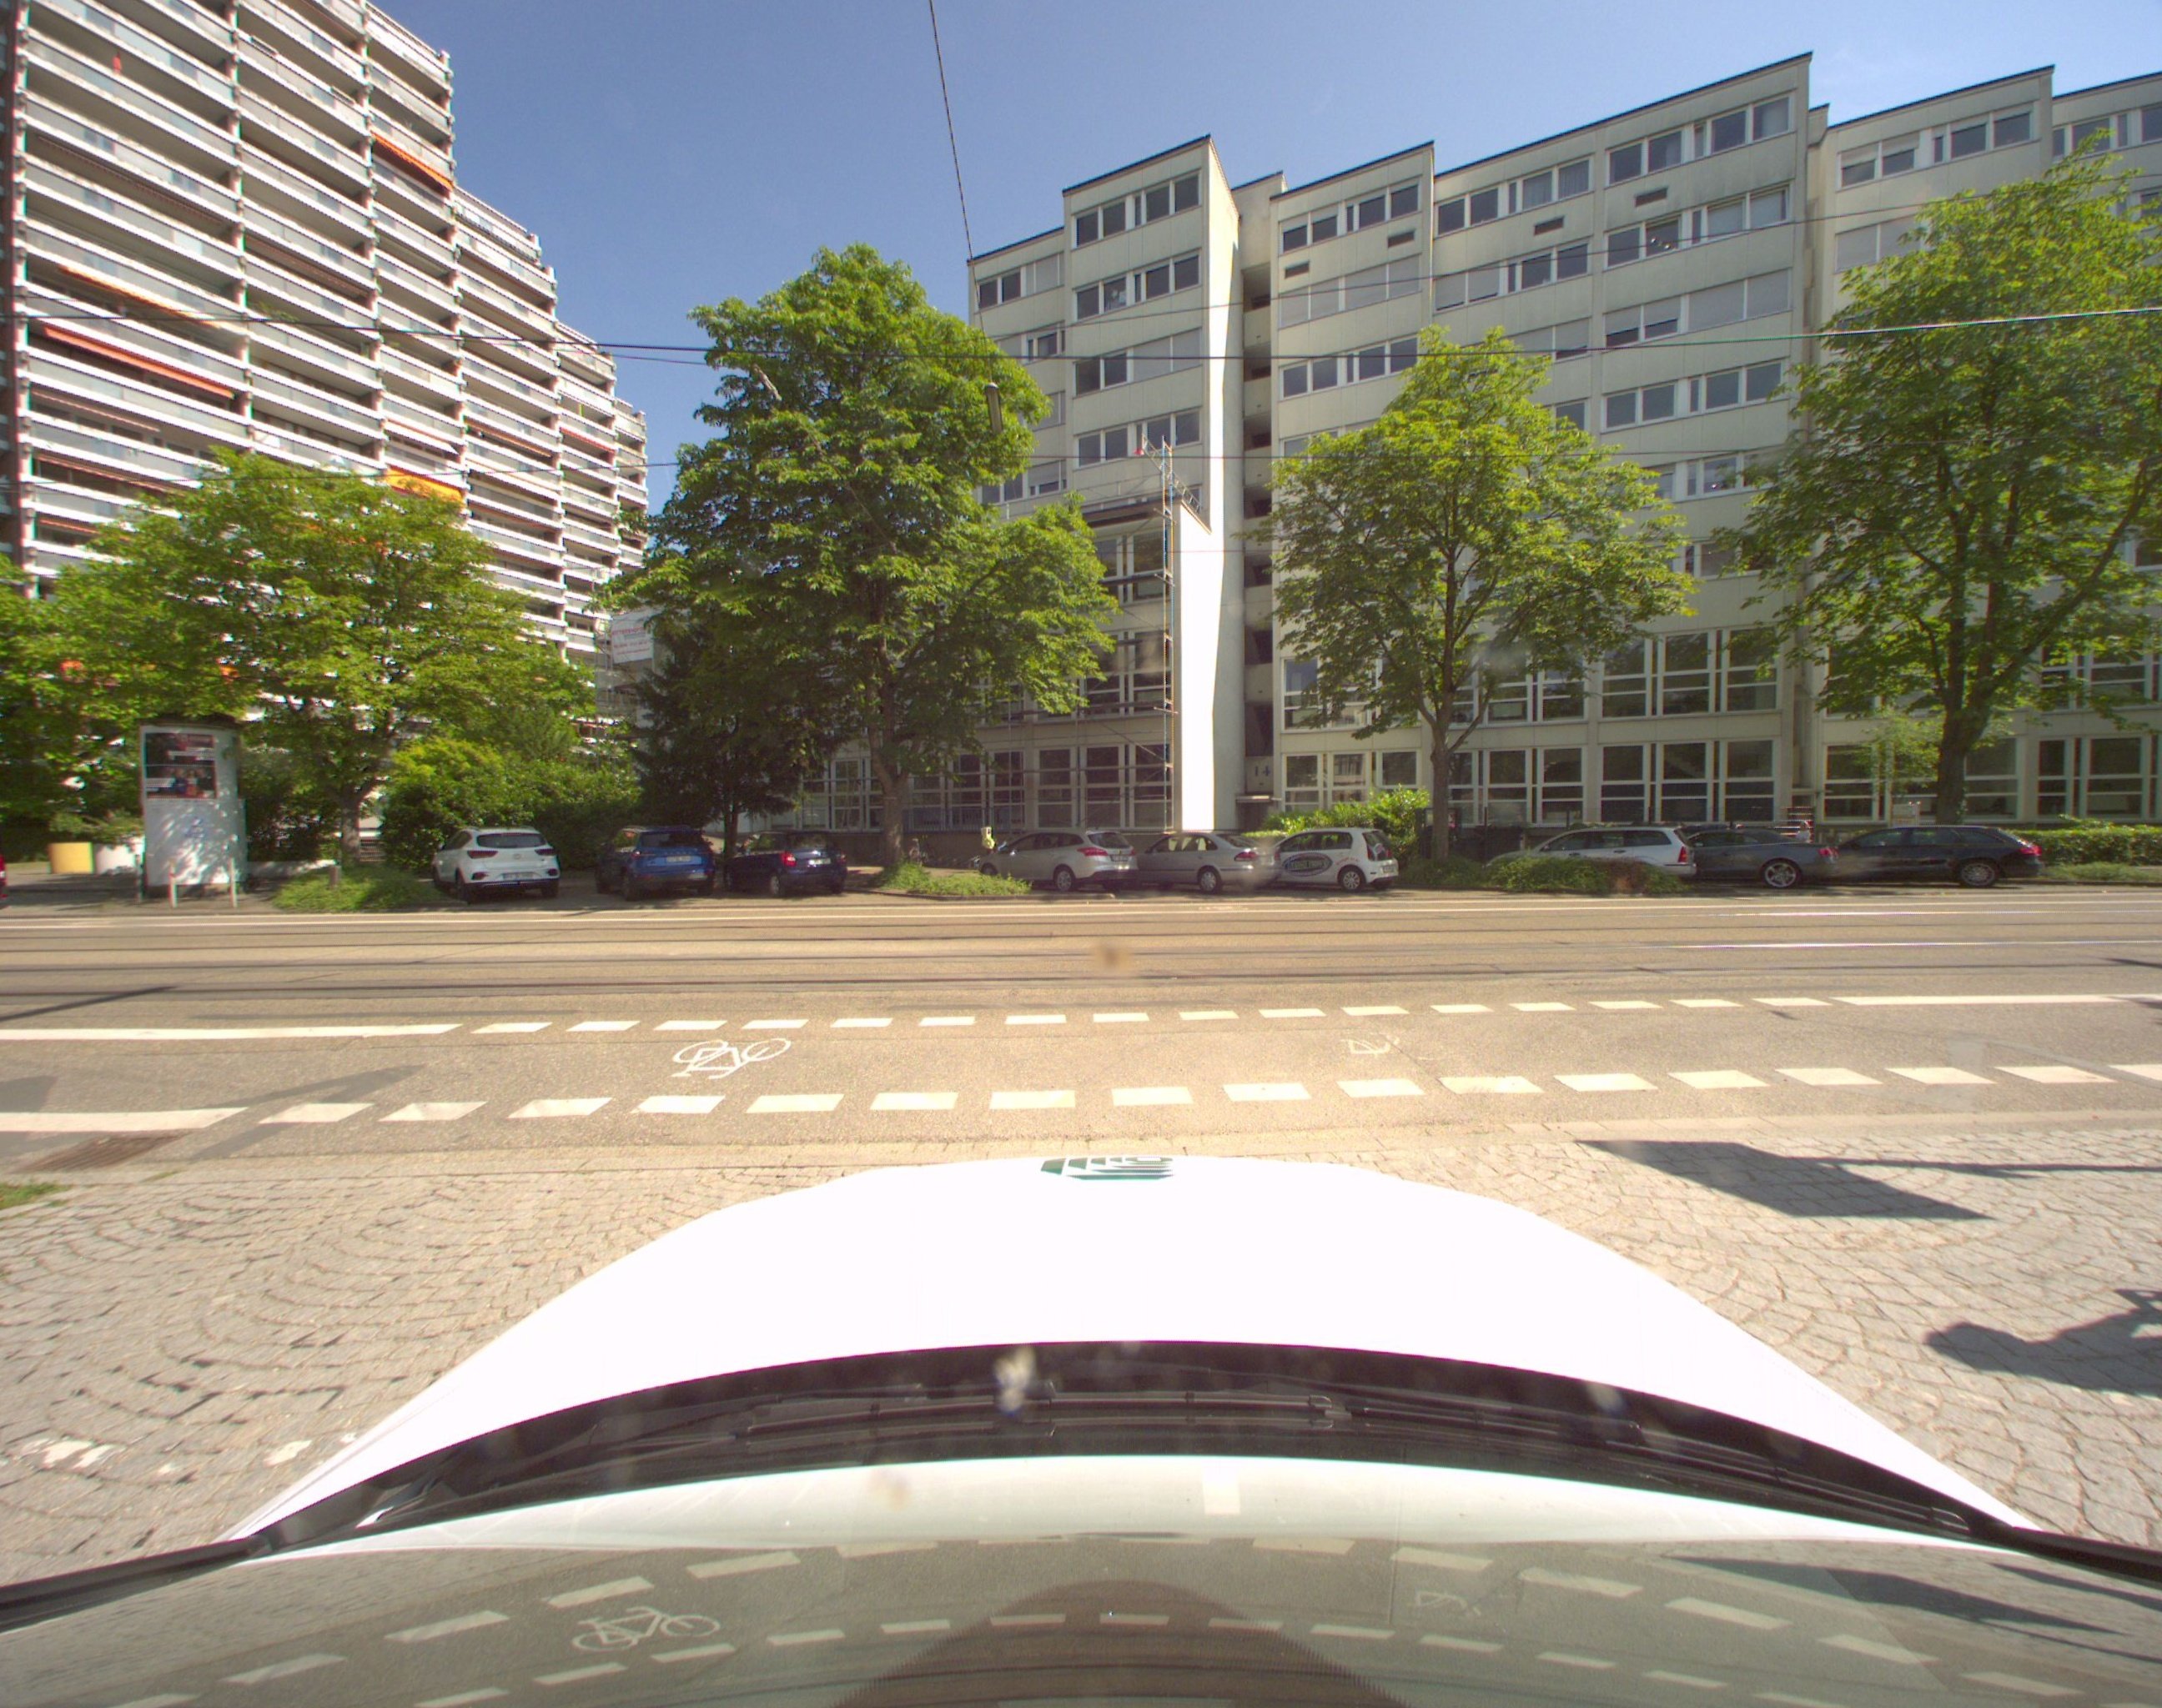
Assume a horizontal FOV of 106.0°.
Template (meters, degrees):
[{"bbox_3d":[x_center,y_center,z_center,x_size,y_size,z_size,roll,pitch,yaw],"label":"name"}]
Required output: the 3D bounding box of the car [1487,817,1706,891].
[{"bbox_3d":[12.393,-0.039,19.748,4.289,1.604,1.568,1,1,41],"label":"car"}]

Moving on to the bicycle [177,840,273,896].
[{"bbox_3d":[-21.050,0.333,20.048,1.614,1.308,0.546,-1,1,-7],"label":"bicycle"}]

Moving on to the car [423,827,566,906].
[{"bbox_3d":[-13.462,0.201,18.633,3.895,1.606,1.831,1,2,42],"label":"car"}]

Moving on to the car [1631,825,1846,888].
[{"bbox_3d":[15.670,0.011,19.547,3.896,1.357,1.568,1,2,44],"label":"car"}]

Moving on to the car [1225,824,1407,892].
[{"bbox_3d":[5.591,0.072,19.680,1.623,1.486,3.896,-2,2,-45],"label":"car"}]

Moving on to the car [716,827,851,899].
[{"bbox_3d":[-6.979,0.148,18.976,3.415,1.530,1.586,1,2,44],"label":"car"}]

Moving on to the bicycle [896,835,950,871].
[{"bbox_3d":[-5.200,-0.056,26.969,0.735,1.085,2.214,0,2,18],"label":"bicycle"}]

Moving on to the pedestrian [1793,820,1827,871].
[{"bbox_3d":[21.327,-0.249,23.844,0.618,1.460,0.424,-1,2,-4],"label":"pedestrian"}]

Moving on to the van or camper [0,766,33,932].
[{"bbox_3d":[-19.992,-0.031,12.138,5.825,2.619,2.050,-1,2,-1],"label":"van or camper"}]

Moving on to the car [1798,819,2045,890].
[{"bbox_3d":[19.419,-0.038,19.063,3.896,1.486,1.568,1,2,44],"label":"car"}]

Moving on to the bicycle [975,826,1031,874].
[{"bbox_3d":[-2.474,-0.161,26.104,0.655,1.453,2.103,0,2,30],"label":"bicycle"}]

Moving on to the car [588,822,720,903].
[{"bbox_3d":[-9.993,0.097,18.946,1.790,1.622,3.899,-3,5,-42],"label":"car"}]

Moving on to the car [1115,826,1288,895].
[{"bbox_3d":[2.775,0.087,19.381,1.622,1.486,3.897,-2,2,-44],"label":"car"}]

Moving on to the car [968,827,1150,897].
[{"bbox_3d":[-0.618,0.110,19.591,4.380,1.486,1.795,1,2,44],"label":"car"}]
